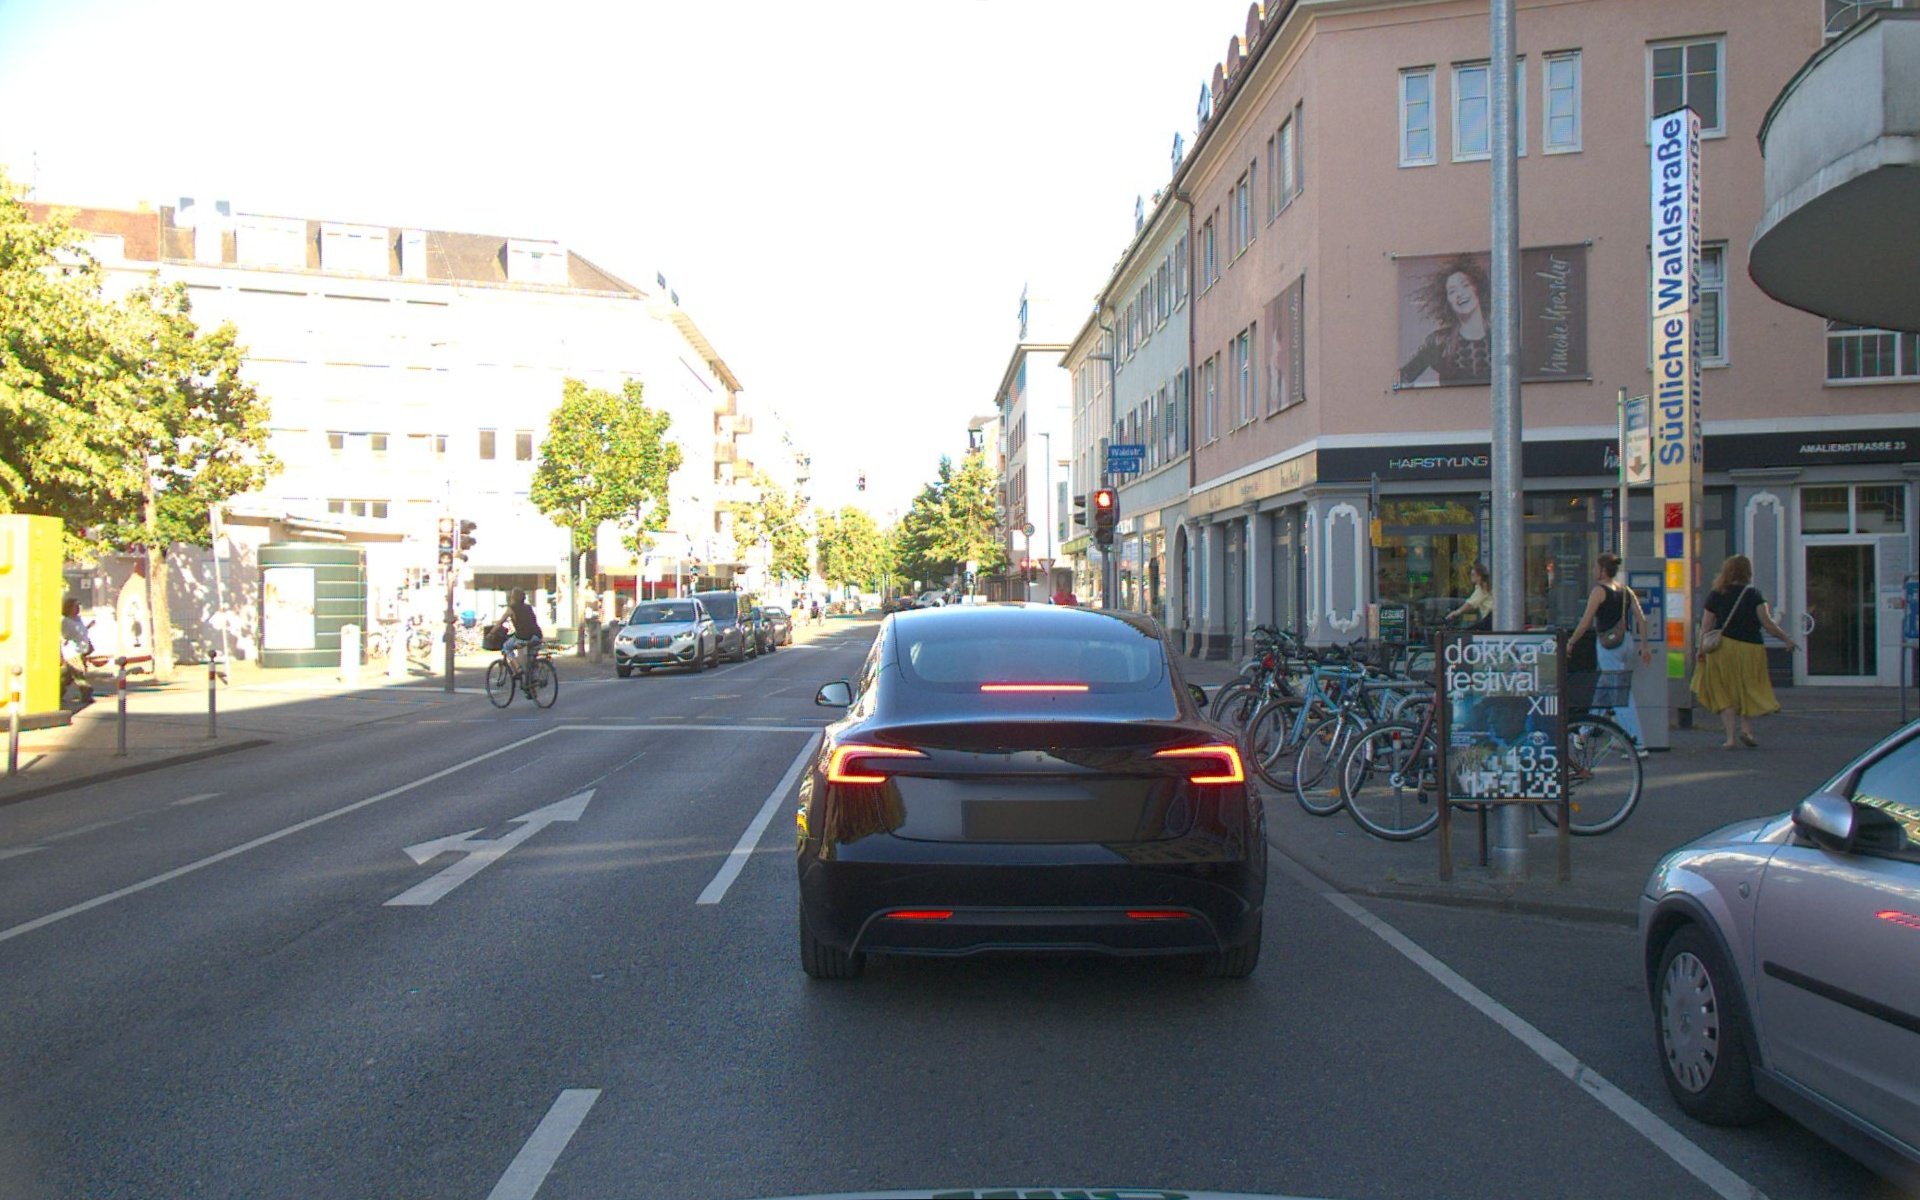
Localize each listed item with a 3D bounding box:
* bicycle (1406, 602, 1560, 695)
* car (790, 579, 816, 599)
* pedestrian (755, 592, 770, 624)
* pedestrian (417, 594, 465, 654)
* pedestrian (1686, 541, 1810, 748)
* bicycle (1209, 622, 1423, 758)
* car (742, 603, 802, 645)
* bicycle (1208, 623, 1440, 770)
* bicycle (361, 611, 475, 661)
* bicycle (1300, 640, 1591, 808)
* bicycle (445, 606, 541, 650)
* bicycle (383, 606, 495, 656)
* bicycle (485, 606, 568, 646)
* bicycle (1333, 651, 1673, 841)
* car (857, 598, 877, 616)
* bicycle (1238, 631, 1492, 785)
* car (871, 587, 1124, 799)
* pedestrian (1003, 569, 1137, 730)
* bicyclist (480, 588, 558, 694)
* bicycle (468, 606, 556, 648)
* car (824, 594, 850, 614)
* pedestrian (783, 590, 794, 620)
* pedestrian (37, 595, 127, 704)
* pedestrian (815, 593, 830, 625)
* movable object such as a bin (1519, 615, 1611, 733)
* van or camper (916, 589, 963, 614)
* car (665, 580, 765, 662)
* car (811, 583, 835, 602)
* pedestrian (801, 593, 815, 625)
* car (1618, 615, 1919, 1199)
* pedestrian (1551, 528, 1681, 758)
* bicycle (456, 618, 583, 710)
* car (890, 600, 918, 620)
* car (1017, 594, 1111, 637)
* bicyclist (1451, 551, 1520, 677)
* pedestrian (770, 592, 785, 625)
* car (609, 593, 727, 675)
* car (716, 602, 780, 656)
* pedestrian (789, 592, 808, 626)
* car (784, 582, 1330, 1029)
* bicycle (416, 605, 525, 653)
[{"bbox_3d":[7.009,0.650,22.232,1.912,1.178,0.576,-2,-1,16],"label":"bicycle"},{"bbox_3d":[-17.008,-1.148,179.408,2.228,2.049,4.717,1,0,0],"label":"car"},{"bbox_3d":[-11.556,0.469,96.713,0.721,1.900,0.787,1,-1,-17],"label":"pedestrian"},{"bbox_3d":[-14.533,0.656,46.341,1.072,1.639,1.264,1,0,-9],"label":"pedestrian"},{"bbox_3d":[7.080,0.392,14.894,0.706,1.785,0.788,-2,-1,4],"label":"pedestrian"},{"bbox_3d":[3.162,0.790,14.778,1.776,1.172,0.653,0,0,0],"label":"bicycle"},{"bbox_3d":[-6.686,0.840,59.096,1.659,1.414,3.916,1,0,0],"label":"car"},{"bbox_3d":[2.979,0.782,13.640,1.776,1.172,0.653,0,0,0],"label":"bicycle"},{"bbox_3d":[-13.947,0.921,42.588,2.607,1.216,0.942,1,0,-4],"label":"bicycle"},{"bbox_3d":[3.250,0.821,11.164,1.776,1.078,0.653,0,0,0],"label":"bicycle"},{"bbox_3d":[-14.007,0.840,49.645,2.609,1.281,0.942,1,0,-4],"label":"bicycle"},{"bbox_3d":[-14.122,0.839,44.925,2.725,1.296,0.932,1,0,-4],"label":"bicycle"},{"bbox_3d":[-14.225,0.852,54.341,2.491,1.273,0.942,1,0,-4],"label":"bicycle"},{"bbox_3d":[3.279,0.874,10.092,1.844,1.062,0.653,-1,0,0],"label":"bicycle"},{"bbox_3d":[-10.492,0.811,186.968,2.089,2.004,4.133,0,0,-1],"label":"car"},{"bbox_3d":[3.050,0.804,12.568,1.776,1.121,0.653,0,0,0],"label":"bicycle"},{"bbox_3d":[0.243,0.684,14.197,1.812,1.507,4.450,1,0,-1],"label":"car"},{"bbox_3d":[1.249,0.539,18.685,1.092,1.750,1.056,1,-1,39],"label":"pedestrian"},{"bbox_3d":[-6.422,0.590,24.100,0.938,1.510,0.606,1,-1,33],"label":"bicyclist"},{"bbox_3d":[-14.059,0.845,51.919,2.491,1.273,0.942,1,0,-4],"label":"bicycle"},{"bbox_3d":[-12.336,0.379,166.264,2.365,2.004,4.677,0,0,-1],"label":"car"},{"bbox_3d":[-10.761,0.303,103.716,0.681,1.900,0.658,1,-1,-6],"label":"pedestrian"},{"bbox_3d":[-12.923,0.720,24.355,0.902,1.570,0.695,1,-1,7],"label":"pedestrian"},{"bbox_3d":[-8.108,0.532,97.418,0.760,1.900,1.006,1,-1,-10],"label":"pedestrian"},{"bbox_3d":[6.043,0.731,16.548,0.623,1.122,0.728,-2,0,3],"label":"movable object such as a bin"},{"bbox_3d":[-2.059,0.155,167.521,4.752,2.481,1.850,0,0,-1],"label":"van or camper"},{"bbox_3d":[-6.229,0.502,42.567,1.906,1.981,4.819,0,0,-1],"label":"car"},{"bbox_3d":[-15.591,-0.836,188.064,2.228,2.049,4.717,1,0,0],"label":"car"},{"bbox_3d":[-9.175,0.524,99.864,0.683,1.900,0.906,1,-1,-15],"label":"pedestrian"},{"bbox_3d":[2.921,0.781,3.538,1.551,1.451,3.579,1,0,-1],"label":"car"},{"bbox_3d":[5.631,0.361,14.242,0.667,1.882,0.893,-3,-1,1],"label":"pedestrian"},{"bbox_3d":[-6.421,0.941,24.087,1.959,1.244,0.628,-4,-3,34],"label":"bicycle"},{"bbox_3d":[-5.342,0.959,156.569,2.000,1.819,3.994,0,0,-12],"label":"car"},{"bbox_3d":[4.716,0.696,74.742,3.937,1.900,1.686,0,0,-22],"label":"car"},{"bbox_3d":[7.055,0.190,22.215,0.808,1.642,0.580,-2,0,16],"label":"bicyclist"},{"bbox_3d":[-10.677,0.485,96.910,0.721,1.900,0.787,1,-1,-17],"label":"pedestrian"},{"bbox_3d":[-6.321,0.707,36.239,1.788,1.592,4.299,-3,0,-1],"label":"car"},{"bbox_3d":[-6.333,0.849,49.693,1.431,1.455,3.605,-3,0,-1],"label":"car"},{"bbox_3d":[-9.232,0.501,94.417,0.719,1.900,0.790,1,-1,28],"label":"pedestrian"},{"bbox_3d":[0.299,0.699,7.773,1.812,1.472,4.450,1,0,-1],"label":"car"},{"bbox_3d":[-13.998,0.825,47.326,2.818,1.292,0.942,1,0,-4],"label":"bicycle"}]
